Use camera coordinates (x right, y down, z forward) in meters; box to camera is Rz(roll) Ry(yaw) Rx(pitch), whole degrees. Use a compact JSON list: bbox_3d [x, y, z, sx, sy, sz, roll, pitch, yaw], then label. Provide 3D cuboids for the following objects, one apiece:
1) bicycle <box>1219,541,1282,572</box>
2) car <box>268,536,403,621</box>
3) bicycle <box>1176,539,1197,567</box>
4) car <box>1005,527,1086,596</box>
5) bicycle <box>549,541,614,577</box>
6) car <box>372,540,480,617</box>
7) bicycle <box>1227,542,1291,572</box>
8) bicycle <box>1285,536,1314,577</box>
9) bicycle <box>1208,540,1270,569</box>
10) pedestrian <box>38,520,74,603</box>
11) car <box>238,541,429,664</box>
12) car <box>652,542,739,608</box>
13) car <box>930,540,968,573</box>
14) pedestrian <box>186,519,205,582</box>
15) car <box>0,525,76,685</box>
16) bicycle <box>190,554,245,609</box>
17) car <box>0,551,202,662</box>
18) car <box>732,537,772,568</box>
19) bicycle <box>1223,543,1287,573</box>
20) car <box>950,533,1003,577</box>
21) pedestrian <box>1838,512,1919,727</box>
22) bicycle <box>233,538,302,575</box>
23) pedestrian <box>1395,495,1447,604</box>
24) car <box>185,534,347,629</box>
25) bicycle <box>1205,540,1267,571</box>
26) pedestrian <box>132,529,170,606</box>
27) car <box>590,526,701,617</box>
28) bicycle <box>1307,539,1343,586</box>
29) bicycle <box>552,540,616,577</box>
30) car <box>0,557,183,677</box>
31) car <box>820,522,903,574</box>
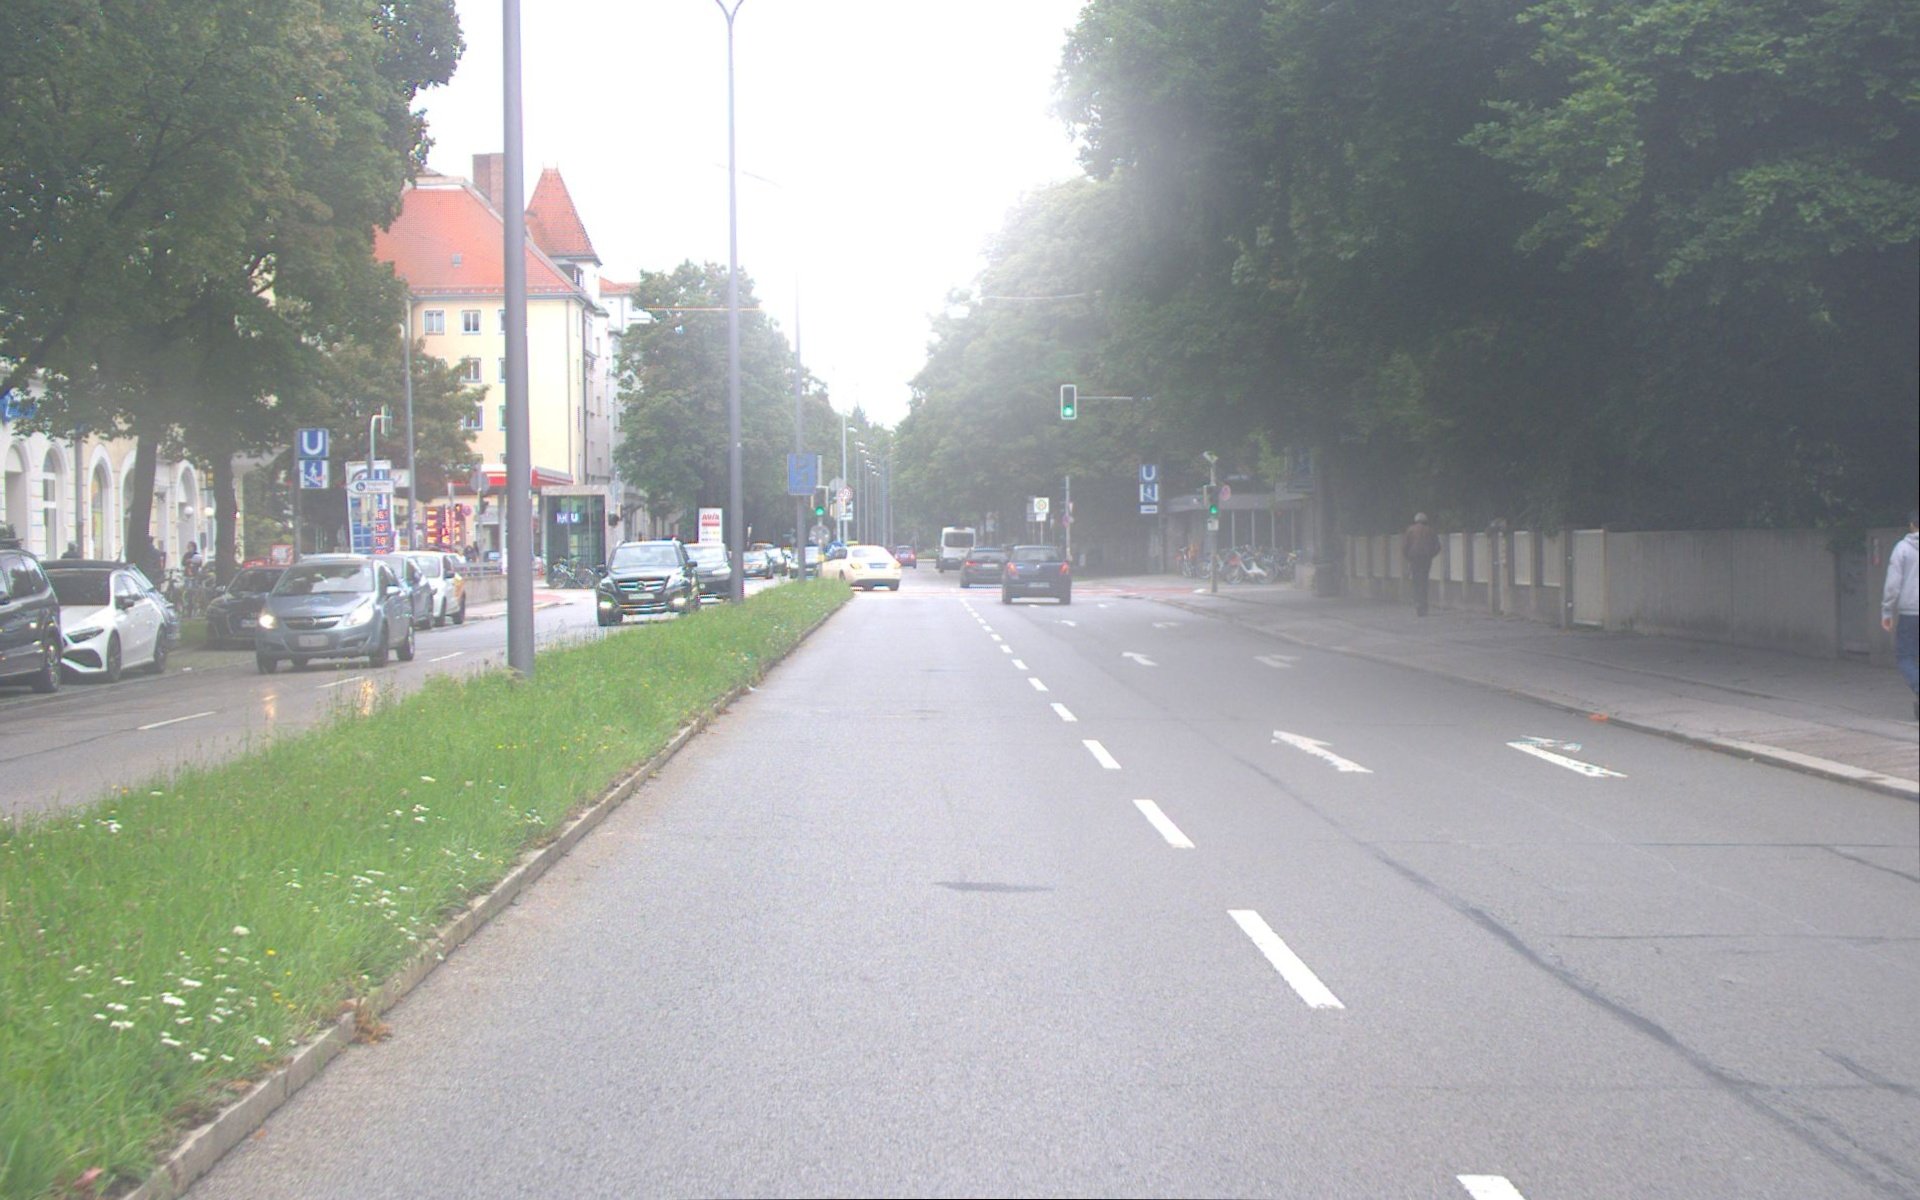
[{"bbox_3d":[10.077,-1.507,119.242,2.143,1.067,0.603,0,1,8],"label":"bicycle"},{"bbox_3d":[-11.538,-0.424,63.726,1.810,1.502,3.960,0,1,-1],"label":"car"},{"bbox_3d":[8.355,-1.730,126.891,0.556,1.011,2.016,-1,1,-3],"label":"bicycle"},{"bbox_3d":[2.143,-0.993,87.147,1.857,1.678,4.000,-1,1,-1],"label":"car"},{"bbox_3d":[-13.847,-1.503,125.731,2.271,1.300,0.704,-1,1,1],"label":"bicycle"},{"bbox_3d":[-11.427,-0.476,73.745,1.649,1.579,3.790,0,1,1],"label":"car"},{"bbox_3d":[10.309,-1.471,118.437,2.143,1.011,0.634,0,1,8],"label":"bicycle"},{"bbox_3d":[9.567,-1.221,96.903,0.599,1.117,1.890,-1,0,0],"label":"bicycle"},{"bbox_3d":[9.792,-1.592,120.610,2.143,1.011,0.603,0,1,8],"label":"bicycle"},{"bbox_3d":[-18.588,-0.802,70.676,0.543,1.691,0.770,-1,1,-3],"label":"pedestrian"},{"bbox_3d":[-8.413,0.003,46.454,1.810,1.502,4.057,-3,1,-1],"label":"car"},{"bbox_3d":[-6.944,-0.684,90.610,1.875,1.579,4.621,-3,1,0],"label":"car"},{"bbox_3d":[-0.600,-2.400,190.120,1.993,1.750,4.000,-1,1,-1],"label":"car"},{"bbox_3d":[-19.739,-1.282,88.760,0.421,1.626,0.783,-1,1,-16],"label":"pedestrian"},{"bbox_3d":[-11.315,0.044,38.144,1.810,1.722,4.767,-1,1,-1],"label":"car"},{"bbox_3d":[-15.503,-0.390,71.734,0.457,1.111,1.966,-1,1,-32],"label":"bicycle"},{"bbox_3d":[-12.586,0.083,47.446,3.889,1.459,1.732,-1,1,-2],"label":"car"},{"bbox_3d":[-10.003,-2.288,165.388,1.759,1.455,4.000,-1,1,-1],"label":"car"},{"bbox_3d":[10.118,-1.447,117.813,2.143,1.011,0.603,0,1,8],"label":"bicycle"},{"bbox_3d":[0.559,-1.581,119.679,1.779,1.469,3.893,1,1,-1],"label":"car"},{"bbox_3d":[7.674,0.147,28.218,0.666,1.716,0.729,-3,1,-1],"label":"pedestrian"},{"bbox_3d":[-24.603,-1.544,122.175,2.393,1.246,0.792,1,0,-11],"label":"bicycle"},{"bbox_3d":[8.315,-0.916,62.073,0.777,1.935,0.802,-2,1,0],"label":"pedestrian"},{"bbox_3d":[-11.576,-0.344,57.641,1.810,1.502,4.646,0,1,-1],"label":"car"},{"bbox_3d":[9.743,-1.569,121.340,2.143,1.082,0.603,0,1,8],"label":"bicycle"},{"bbox_3d":[-18.064,-0.725,76.761,0.591,1.691,0.946,-1,1,-28],"label":"pedestrian"},{"bbox_3d":[-6.166,-0.596,67.870,1.769,1.673,4.369,-2,1,-1],"label":"car"},{"bbox_3d":[8.674,-0.898,81.757,0.622,1.087,2.026,-1,1,-1],"label":"bicycle"},{"bbox_3d":[-13.832,-1.528,126.510,2.285,1.300,0.694,-1,1,1],"label":"bicycle"},{"bbox_3d":[-11.242,0.184,43.759,1.726,1.398,4.404,-1,1,-1],"label":"car"},{"bbox_3d":[-3.210,-1.689,110.821,1.778,1.641,4.783,-1,1,-13],"label":"car"}]
